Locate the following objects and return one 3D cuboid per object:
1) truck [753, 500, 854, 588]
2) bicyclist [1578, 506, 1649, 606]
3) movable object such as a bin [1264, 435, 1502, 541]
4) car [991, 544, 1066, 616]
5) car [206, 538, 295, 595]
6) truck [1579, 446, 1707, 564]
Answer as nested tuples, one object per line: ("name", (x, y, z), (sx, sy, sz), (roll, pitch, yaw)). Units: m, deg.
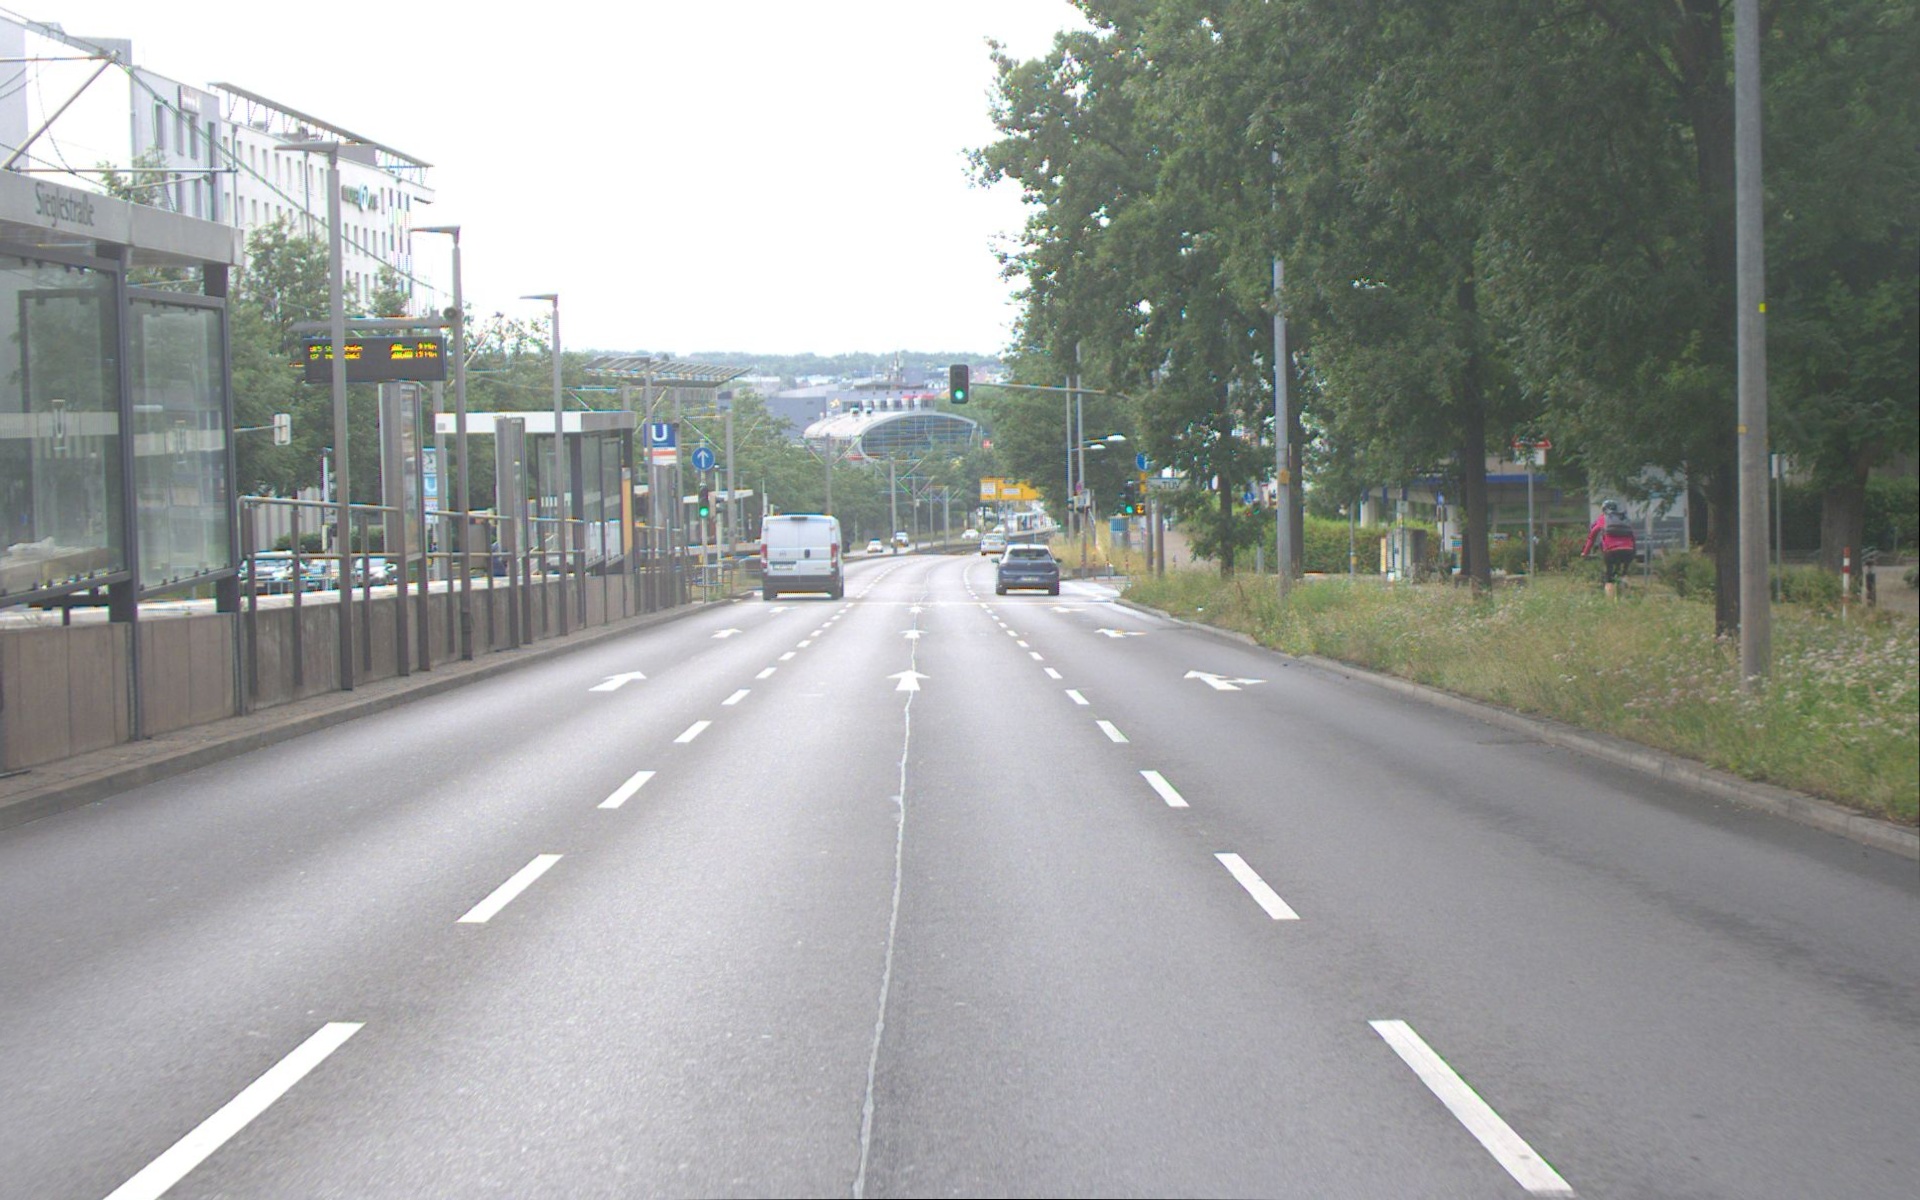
("truck", (-4.165, -1.490, 92.181), (2.360, 2.254, 5.306), (1, 1, 1))
("bicyclist", (8.584, -0.575, 45.185), (0.655, 1.284, 1.219), (1, 1, -1))
("movable object such as a bin", (22.533, -5.957, 183.568), (12.141, 5.243, 3.789), (-2, 0, 1))
("car", (1.995, -0.589, 98.808), (1.994, 2.007, 3.934), (1, 1, 3))
("car", (-23.233, -1.117, 112.721), (1.993, 1.768, 4.389), (-1, 1, 0))
("truck", (14.971, -2.055, 75.495), (1.746, 2.509, 4.001), (1, 1, -4))
